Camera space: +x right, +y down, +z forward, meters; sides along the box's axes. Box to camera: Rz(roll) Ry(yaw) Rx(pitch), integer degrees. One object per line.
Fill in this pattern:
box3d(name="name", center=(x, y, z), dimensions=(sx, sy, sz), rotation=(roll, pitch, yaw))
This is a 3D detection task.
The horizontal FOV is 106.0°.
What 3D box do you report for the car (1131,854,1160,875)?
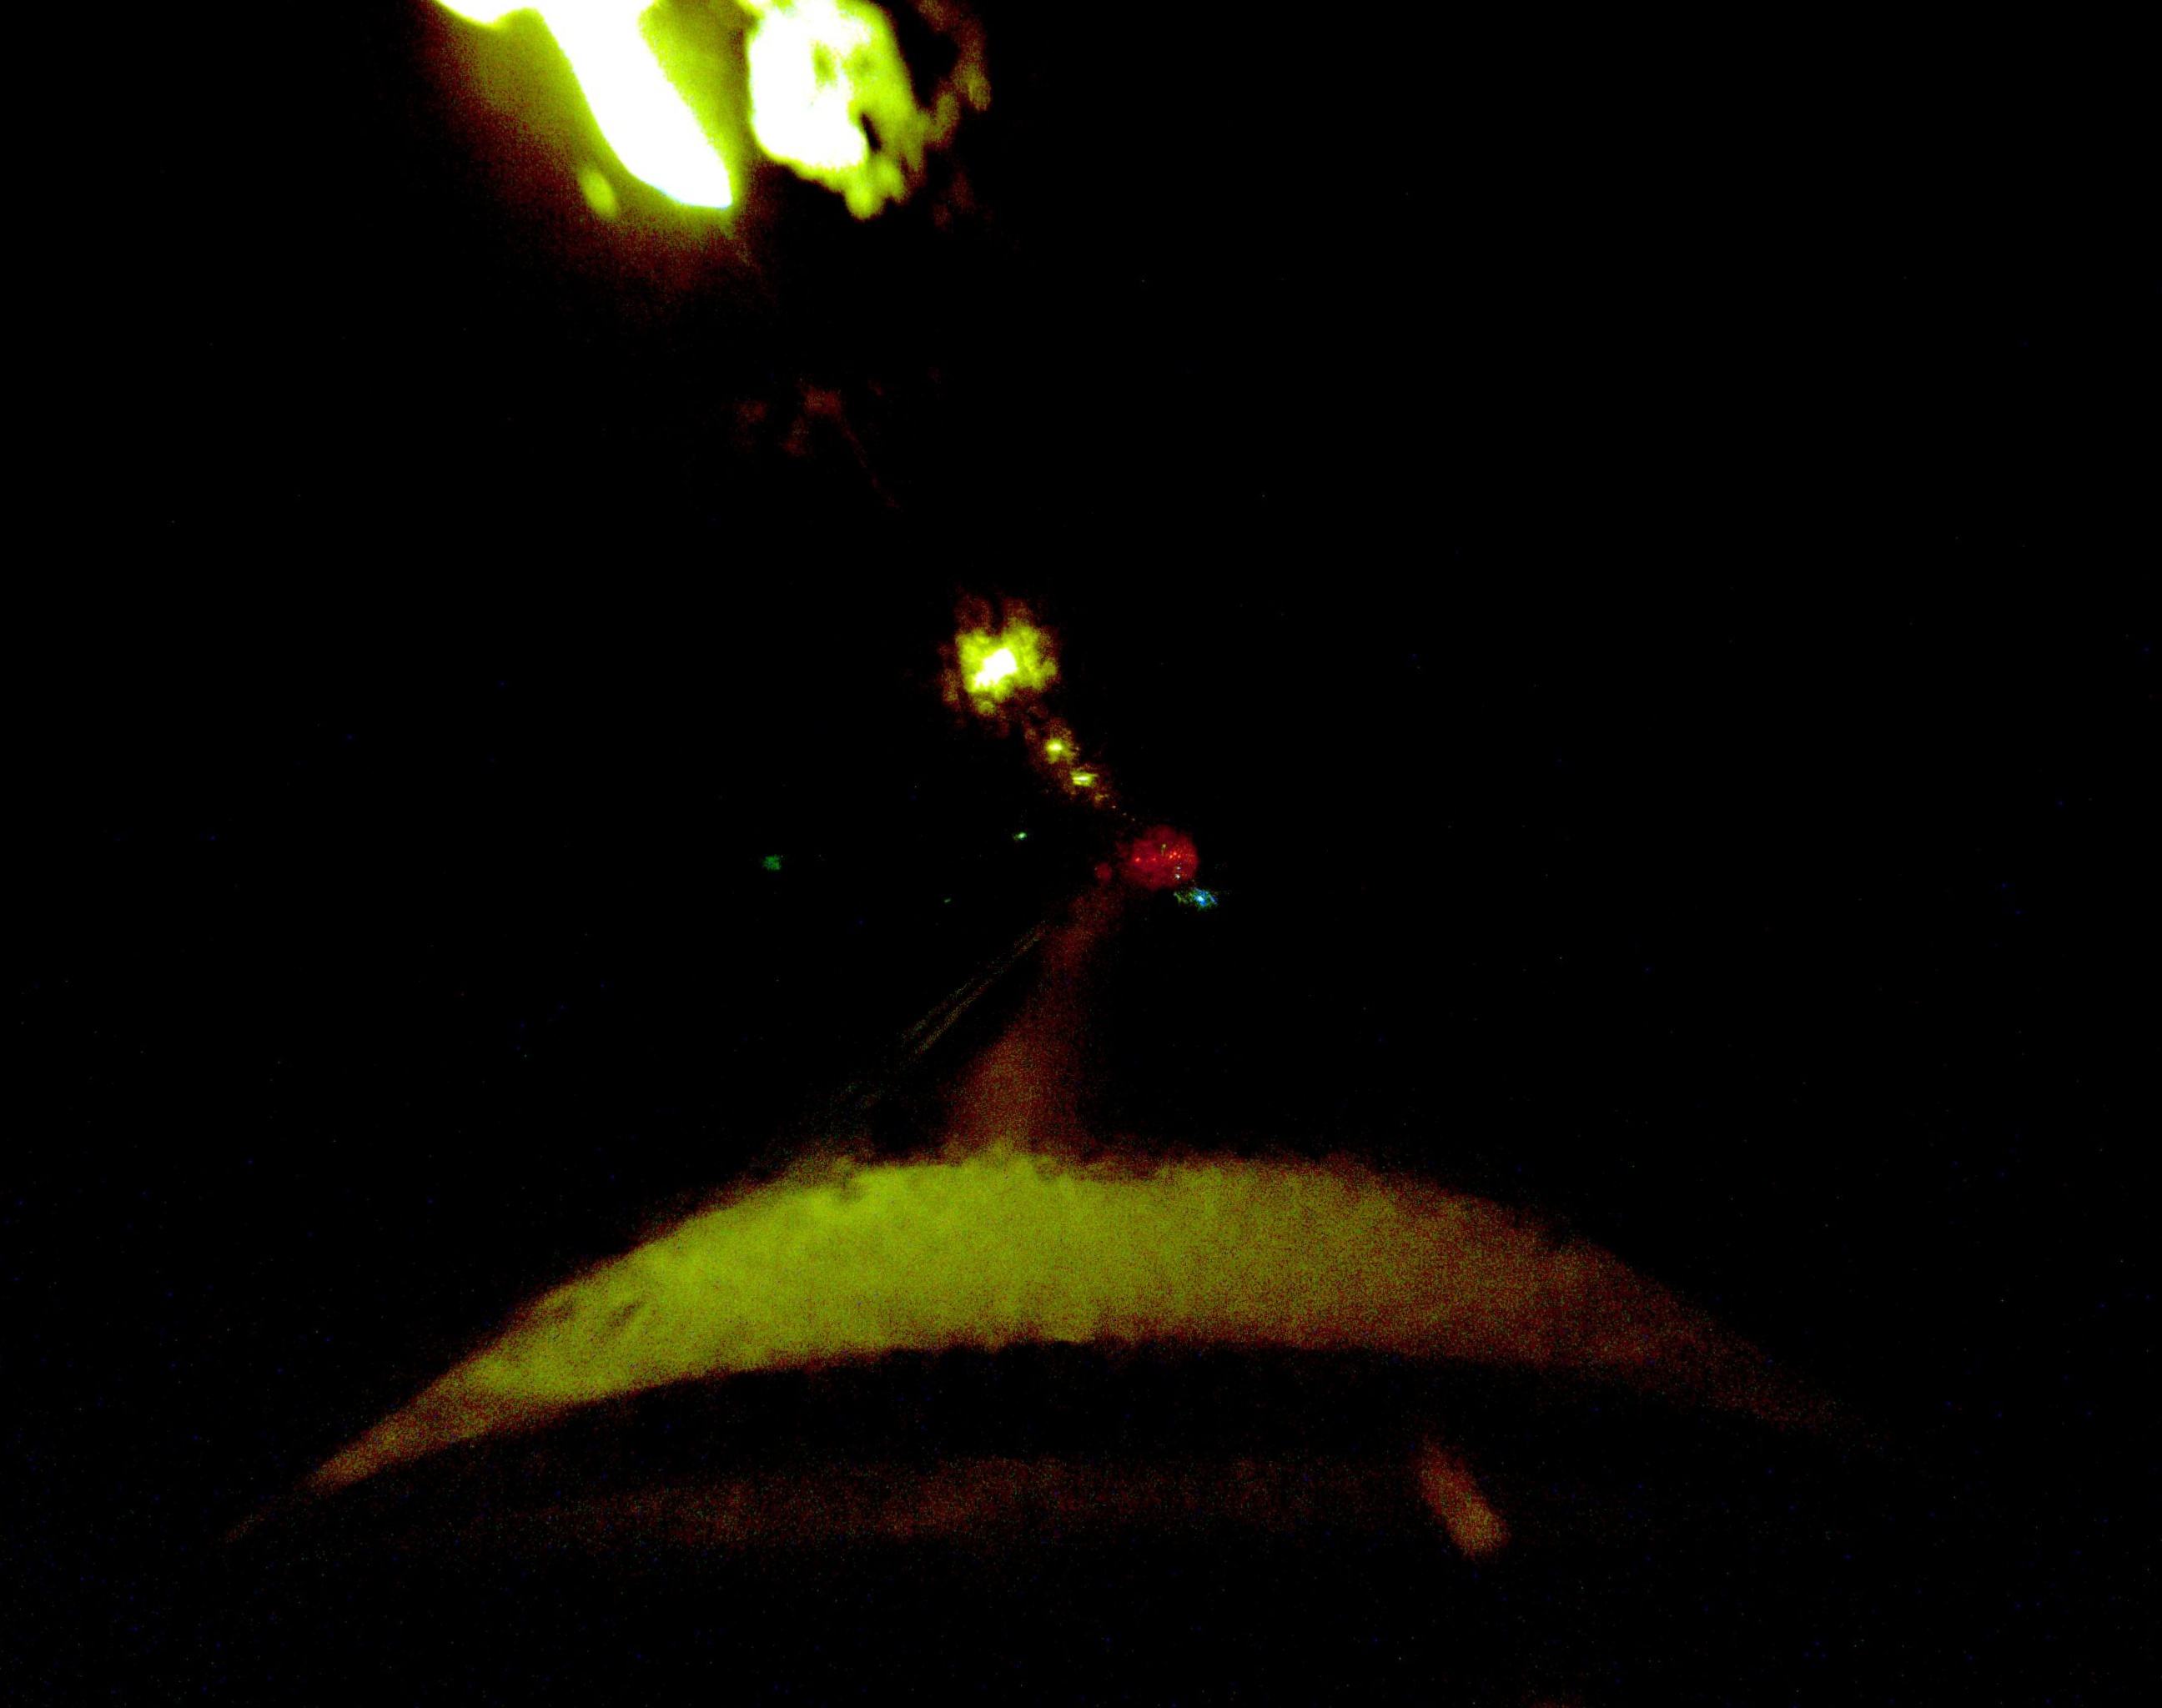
box3d(name="car", center=(5.363, 0.848, 66.922), dimensions=(2.077, 1.662, 4.009), rotation=(-1, -1, 8))
